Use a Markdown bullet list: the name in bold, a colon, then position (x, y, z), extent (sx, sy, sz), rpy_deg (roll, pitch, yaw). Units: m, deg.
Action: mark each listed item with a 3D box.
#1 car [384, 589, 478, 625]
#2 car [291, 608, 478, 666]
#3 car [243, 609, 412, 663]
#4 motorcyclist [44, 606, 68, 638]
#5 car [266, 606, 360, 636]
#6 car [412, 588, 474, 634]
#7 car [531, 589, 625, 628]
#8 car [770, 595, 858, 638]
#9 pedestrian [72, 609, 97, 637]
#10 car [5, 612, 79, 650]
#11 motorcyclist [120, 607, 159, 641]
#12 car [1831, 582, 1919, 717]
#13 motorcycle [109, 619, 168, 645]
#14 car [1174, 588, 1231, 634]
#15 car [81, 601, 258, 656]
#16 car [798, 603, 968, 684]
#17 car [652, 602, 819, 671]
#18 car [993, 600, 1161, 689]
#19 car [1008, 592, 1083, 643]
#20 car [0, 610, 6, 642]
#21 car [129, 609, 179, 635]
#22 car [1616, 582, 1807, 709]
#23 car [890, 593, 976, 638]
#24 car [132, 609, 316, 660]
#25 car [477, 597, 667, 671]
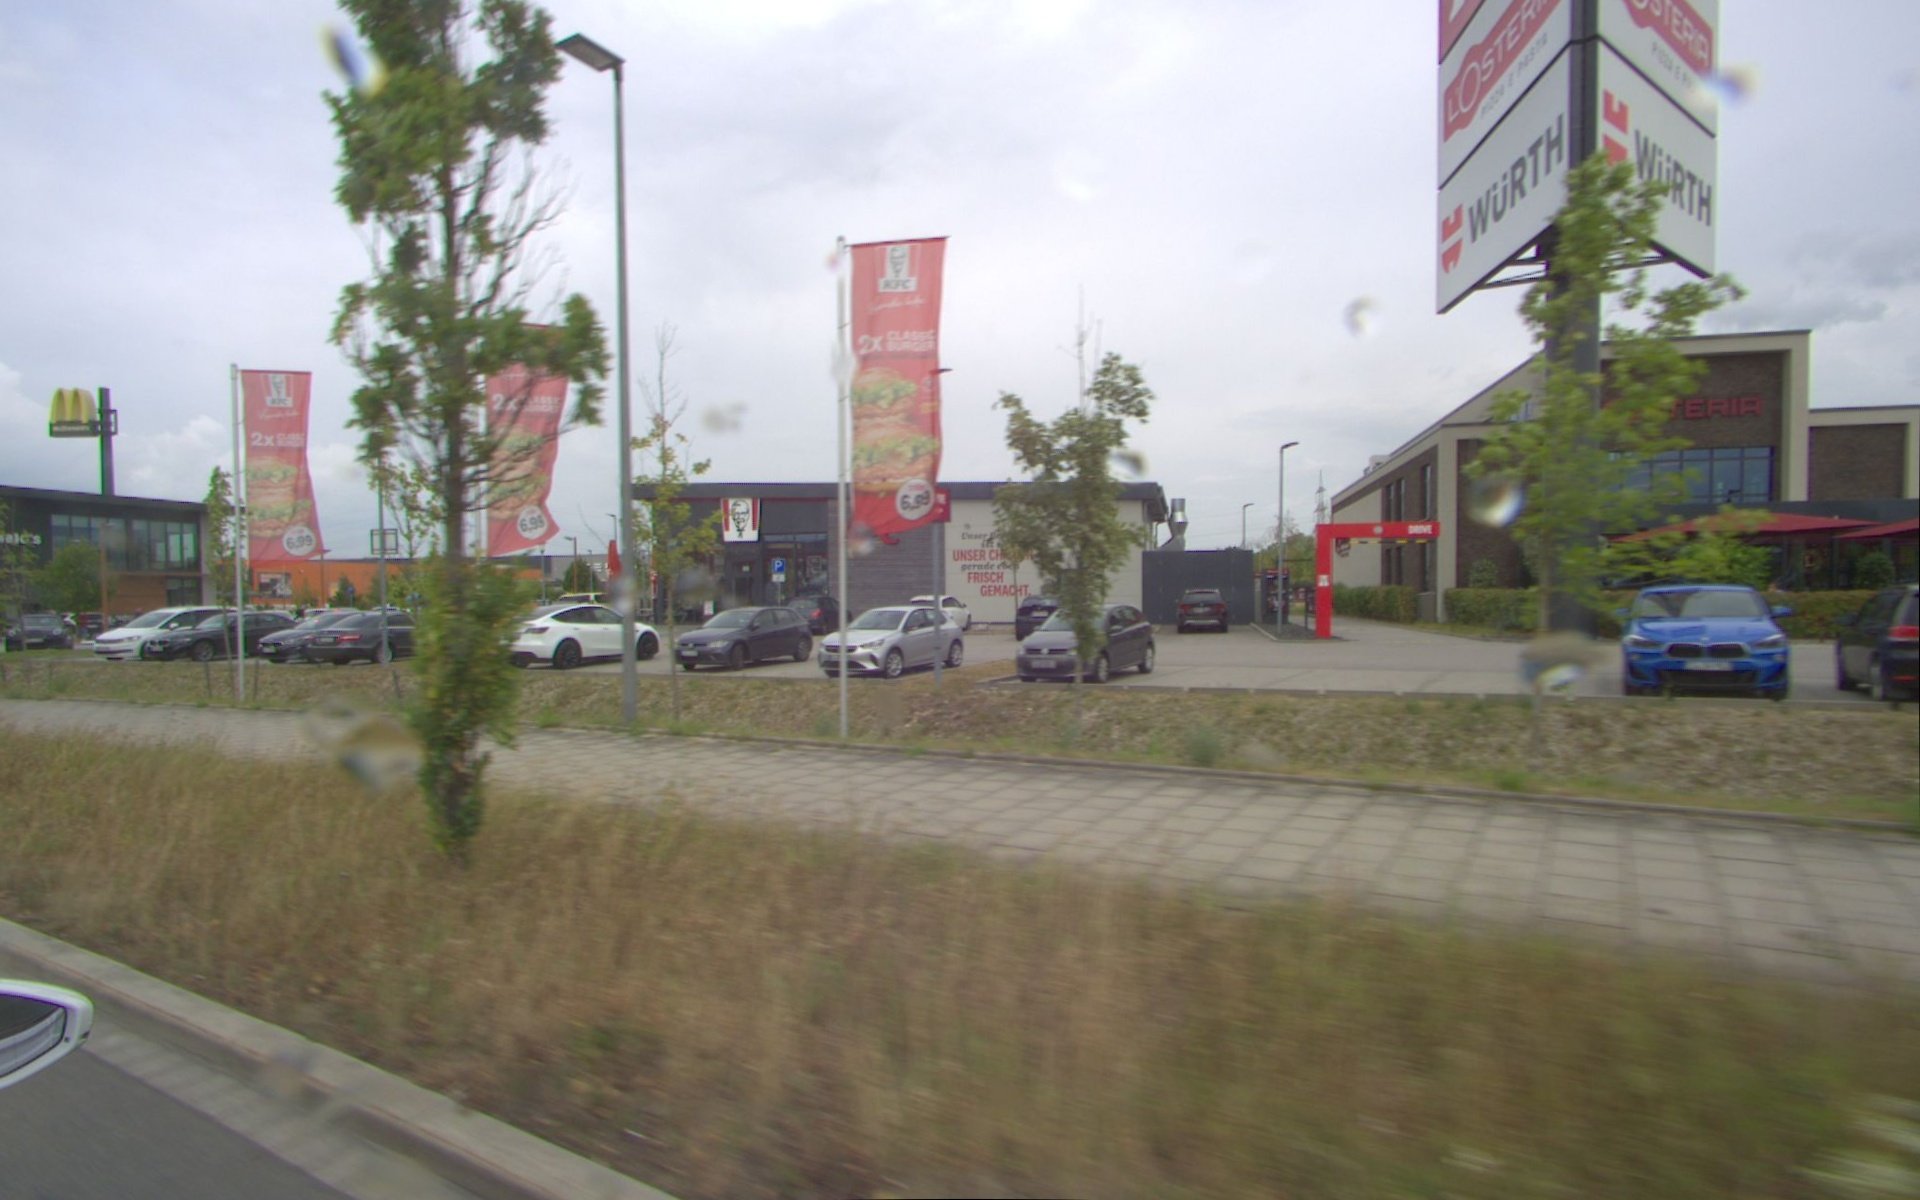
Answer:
- **car**: position (-38.678, 0.468, 73.411), extent (5.956, 2.562, 2.271), rpy_deg (-1, 1, -28)
- **car**: position (-16.632, 1.004, 29.223), extent (1.996, 1.488, 4.522), rpy_deg (0, 0, 20)
- **car**: position (-19.208, 1.052, 30.625), extent (1.908, 1.457, 4.089), rpy_deg (0, 1, 18)
- **motorcyclist**: position (-52.340, 1.260, 57.968), extent (0.953, 1.856, 0.838), rpy_deg (-1, 0, -40)
- **car**: position (-39.371, 1.228, 60.949), extent (4.675, 1.678, 1.985), rpy_deg (-1, 0, -37)
- **car**: position (-30.460, 0.607, 58.902), extent (2.252, 2.535, 7.277), rpy_deg (-1, 1, -35)
- **car**: position (-24.413, 0.538, 64.048), extent (5.602, 2.382, 2.525), rpy_deg (0, 1, 27)
- **car**: position (-5.794, 0.627, 40.237), extent (2.009, 1.539, 4.372), rpy_deg (-1, 1, 13)
- **pedestrian**: position (-45.631, 1.200, 52.171), extent (0.757, 1.458, 0.622), rpy_deg (-1, 1, -18)
- **car**: position (-35.612, 1.170, 38.932), extent (1.795, 1.330, 3.819), rpy_deg (-1, 1, -38)
- **motorcyclist**: position (-33.229, 0.965, 40.572), extent (0.879, 1.352, 0.782), rpy_deg (-1, 1, 2)
- **car**: position (12.397, 0.535, 12.500), extent (1.956, 1.513, 3.973), rpy_deg (0, 0, 36)
- **motorcycle**: position (-33.264, 1.295, 40.557), extent (1.788, 0.998, 0.740), rpy_deg (-1, 1, 2)
- **car**: position (8.772, 0.350, 36.366), extent (1.862, 1.539, 4.570), rpy_deg (-1, 1, 13)
- **car**: position (-26.072, 0.901, 33.241), extent (1.901, 1.661, 4.356), rpy_deg (0, 0, 14)
- **car**: position (-1.595, 0.882, 22.040), extent (1.874, 1.501, 3.855), rpy_deg (-1, 2, 30)
- **car**: position (-5.482, 0.856, 24.983), extent (1.911, 1.504, 3.982), rpy_deg (-1, 0, 28)
- **car**: position (2.365, 0.779, 19.421), extent (1.862, 1.514, 3.751), rpy_deg (-1, 0, 31)
- **car**: position (3.013, 0.552, 34.435), extent (1.941, 1.539, 4.570), rpy_deg (-1, 1, 13)
- **car**: position (-54.191, 1.449, 54.941), extent (2.096, 1.739, 4.200), rpy_deg (0, 0, -36)
- **car**: position (-51.570, 1.379, 64.069), extent (3.958, 1.602, 1.982), rpy_deg (-1, 0, 44)
- **car**: position (10.650, 0.549, 14.476), extent (1.938, 1.540, 4.251), rpy_deg (0, 0, 34)
- **car**: position (-0.938, 0.551, 38.012), extent (2.043, 1.539, 4.569), rpy_deg (-1, 1, 15)
- **car**: position (-23.711, 1.060, 32.487), extent (2.036, 1.456, 4.475), rpy_deg (0, 0, 16)
- **car**: position (-10.179, 0.827, 26.685), extent (2.054, 1.667, 4.560), rpy_deg (-1, 2, 24)
